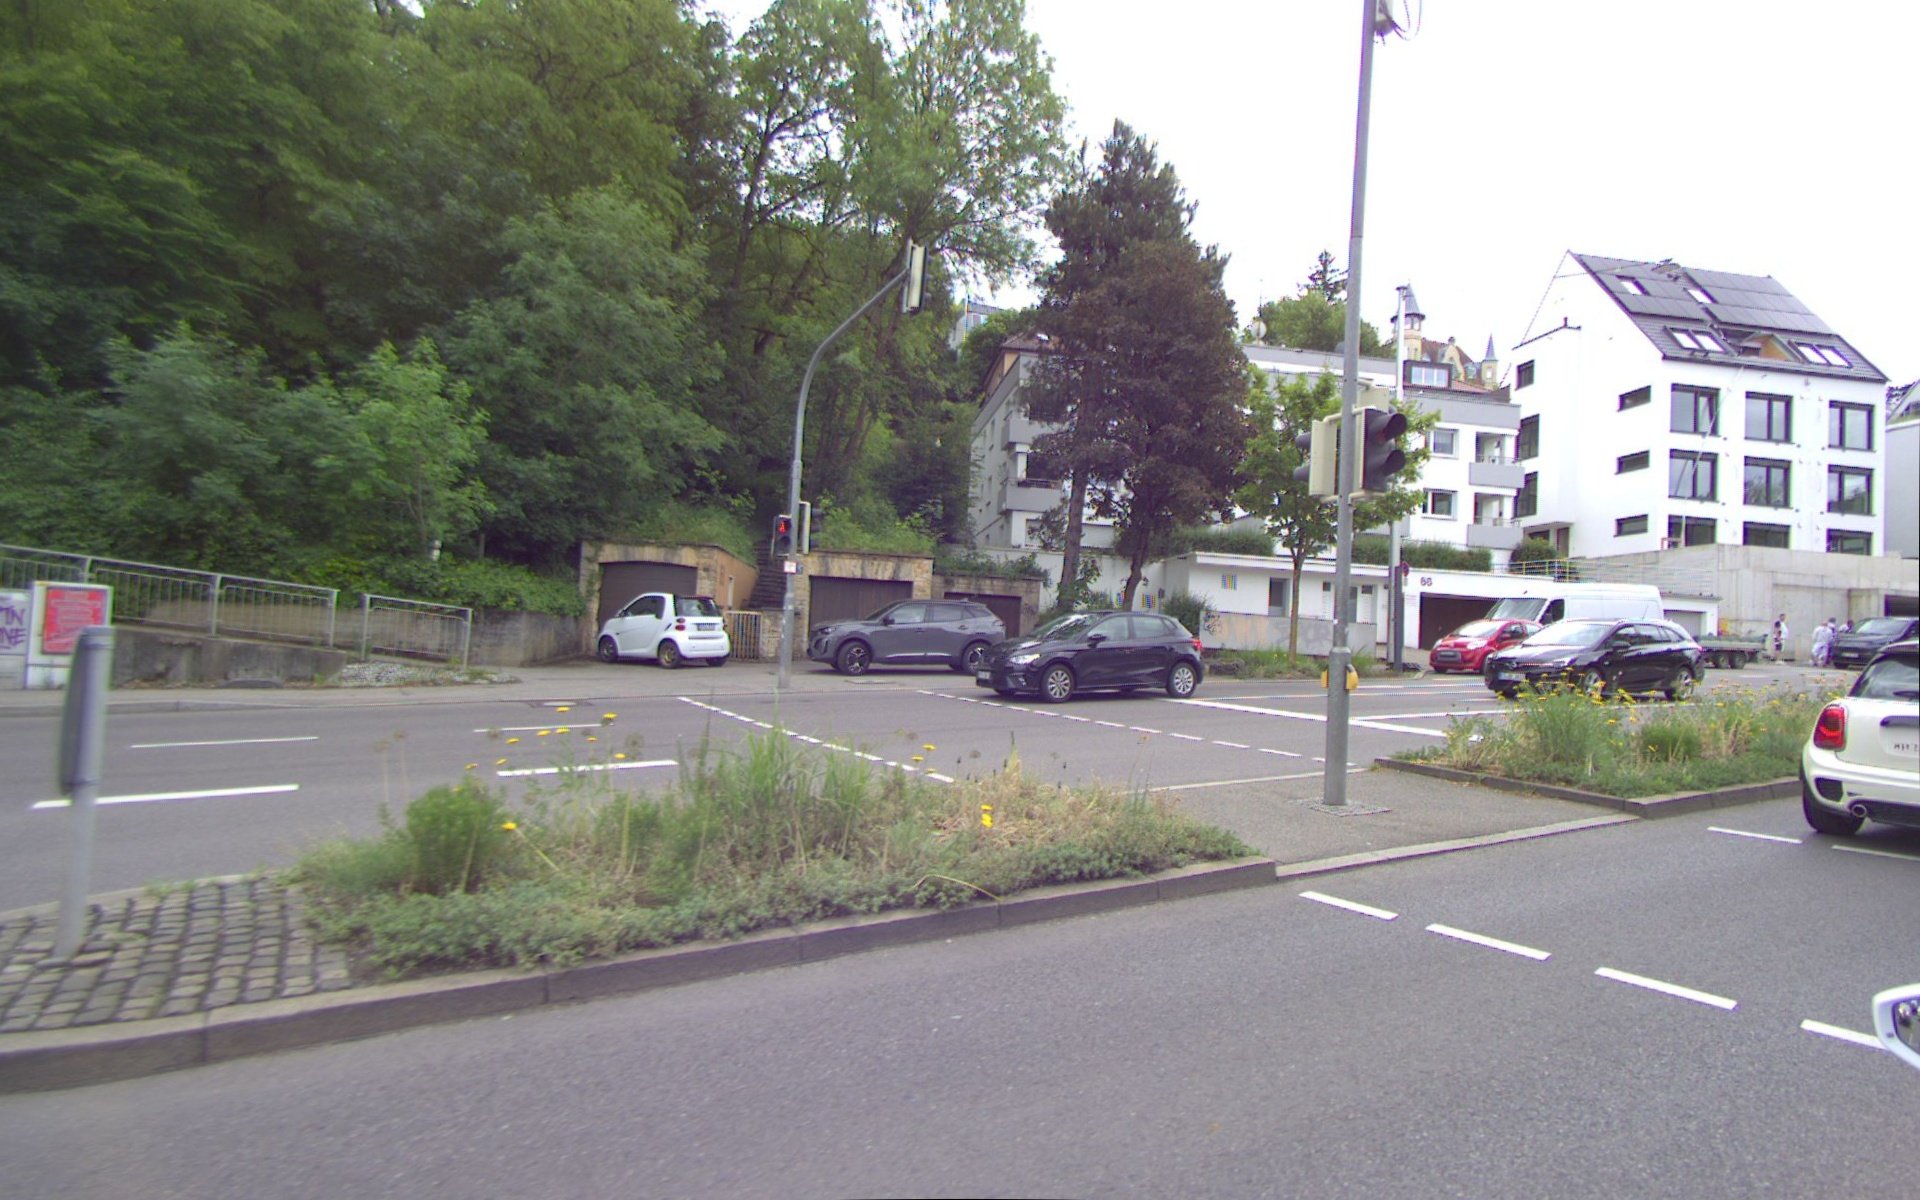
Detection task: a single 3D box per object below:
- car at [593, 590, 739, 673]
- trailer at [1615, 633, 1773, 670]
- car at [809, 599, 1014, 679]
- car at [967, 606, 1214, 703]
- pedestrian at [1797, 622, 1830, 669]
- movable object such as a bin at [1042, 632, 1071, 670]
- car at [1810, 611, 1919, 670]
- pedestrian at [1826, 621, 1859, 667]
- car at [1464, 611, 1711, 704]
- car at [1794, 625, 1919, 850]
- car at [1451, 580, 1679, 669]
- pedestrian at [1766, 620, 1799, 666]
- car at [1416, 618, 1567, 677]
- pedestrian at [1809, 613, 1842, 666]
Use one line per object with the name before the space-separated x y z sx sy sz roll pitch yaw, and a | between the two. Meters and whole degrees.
car | -6.358 0.649 21.708 2.662 1.540 1.561 4 1 30
trailer | 24.693 1.700 33.793 4.554 1.127 2.243 1 -1 -22
car | -1.042 0.806 20.929 4.061 1.560 1.595 1 -1 -13
car | 2.192 0.880 16.722 3.806 1.412 1.620 2 1 -27
pedestrian | 30.771 1.627 36.218 0.662 1.662 0.672 2 1 21
movable object such as a bin | 2.742 1.433 28.508 0.716 1.025 0.641 2 0 -1
car | 32.807 1.419 35.335 5.133 1.993 1.982 1 -1 -17
pedestrian | 32.710 1.623 37.250 0.662 1.662 0.672 2 1 21
car | 11.573 1.019 18.490 4.494 1.521 1.686 2 0 -25
car | 7.639 0.892 7.040 3.523 1.411 1.621 1 -2 -29
car | 19.142 0.795 31.703 7.312 2.602 2.227 1 -1 -22
pedestrian | 30.271 1.581 36.984 0.660 1.662 0.626 1 1 -11
car | 14.256 1.242 26.914 3.874 1.485 1.616 1 -1 -26
pedestrian | 31.717 1.437 36.814 0.662 1.865 0.672 2 1 21
